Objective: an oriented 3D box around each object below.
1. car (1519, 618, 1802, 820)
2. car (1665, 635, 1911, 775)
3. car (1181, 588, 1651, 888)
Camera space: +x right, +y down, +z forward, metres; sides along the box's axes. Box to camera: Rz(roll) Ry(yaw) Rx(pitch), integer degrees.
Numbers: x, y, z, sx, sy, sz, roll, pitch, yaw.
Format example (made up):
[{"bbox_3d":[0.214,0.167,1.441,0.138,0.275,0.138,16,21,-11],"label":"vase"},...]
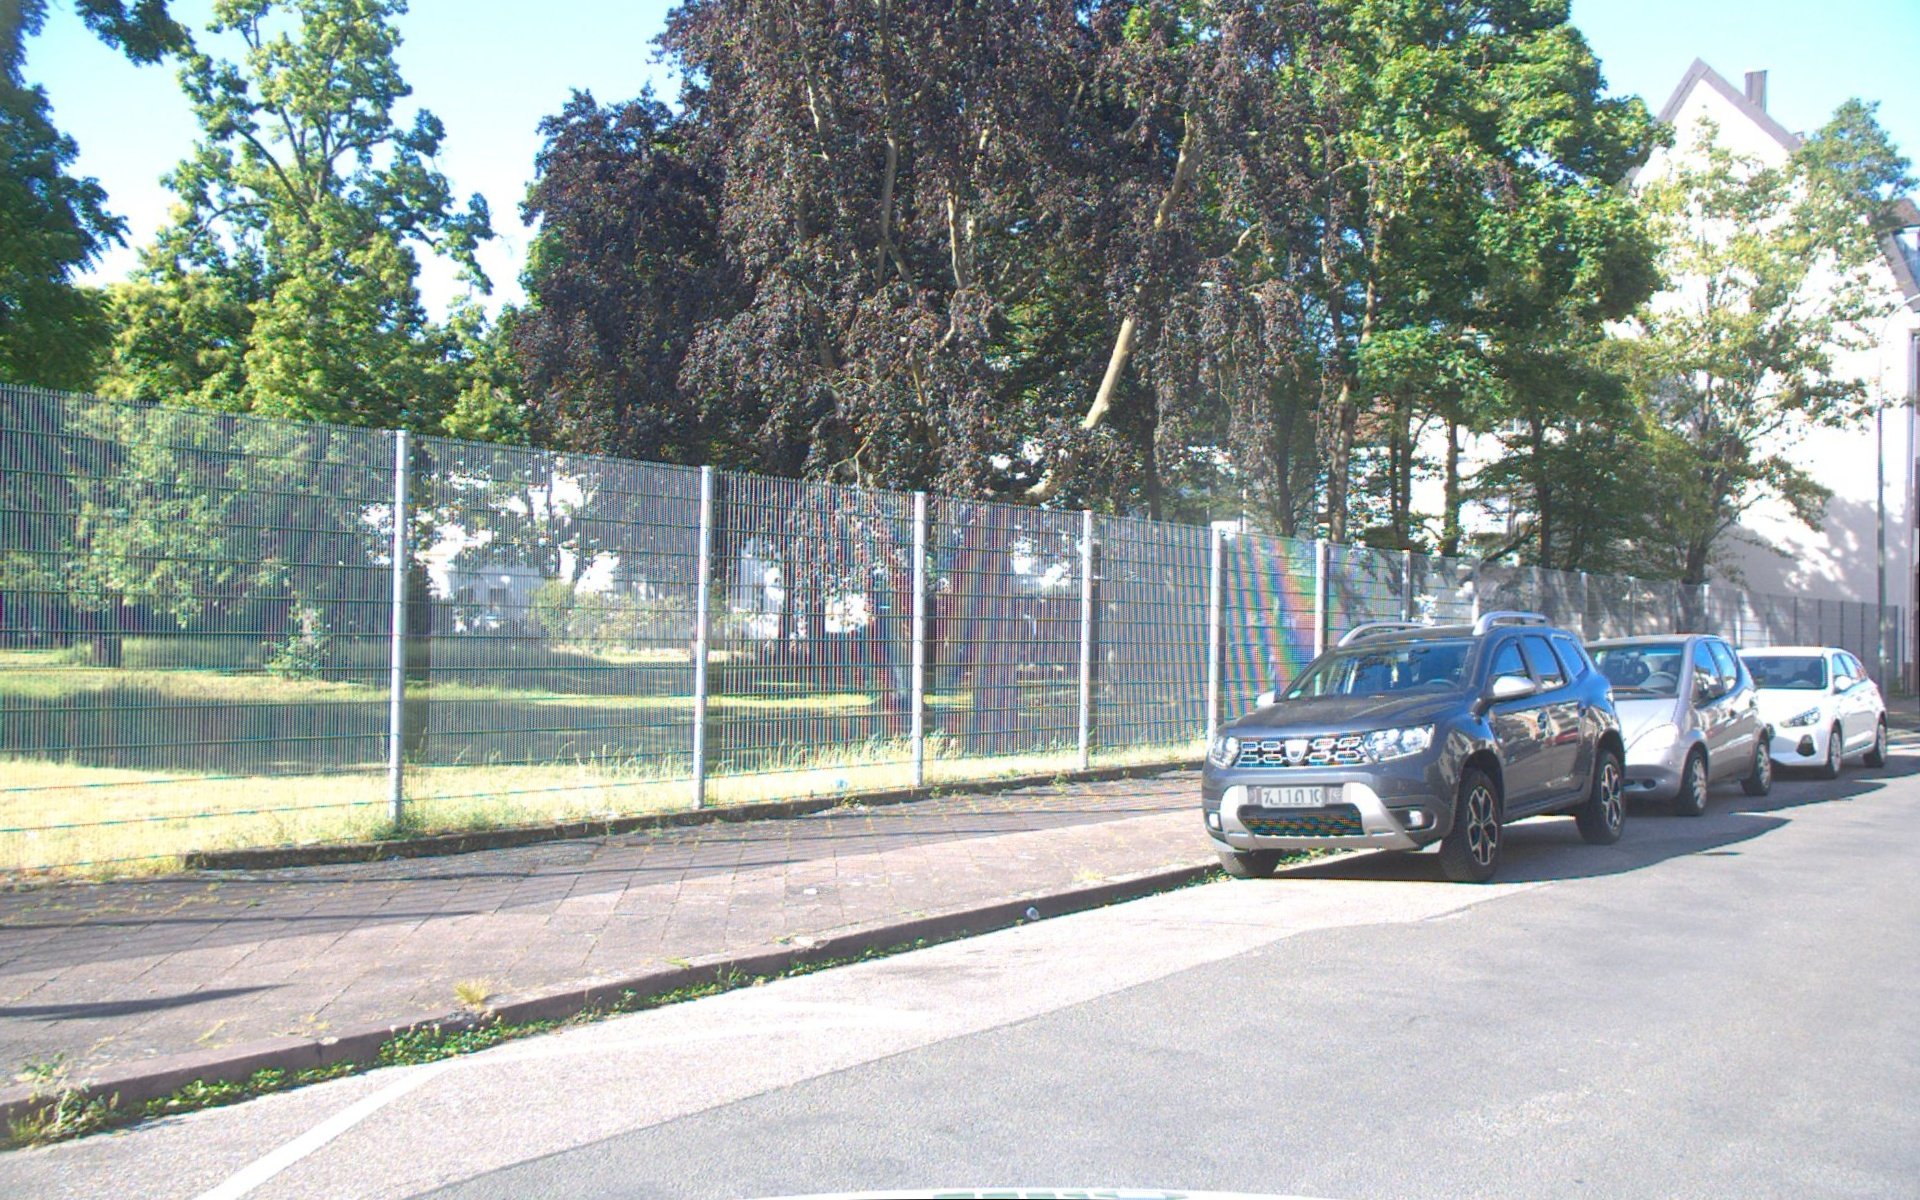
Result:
[{"bbox_3d":[6.703,1.088,15.644,1.538,1.672,3.599,-4,-4,38],"label":"car"},{"bbox_3d":[9.873,1.191,19.572,1.765,1.470,4.099,-2,-3,39],"label":"car"},{"bbox_3d":[3.332,0.884,11.539,1.684,1.693,4.146,-4,-4,38],"label":"car"}]
